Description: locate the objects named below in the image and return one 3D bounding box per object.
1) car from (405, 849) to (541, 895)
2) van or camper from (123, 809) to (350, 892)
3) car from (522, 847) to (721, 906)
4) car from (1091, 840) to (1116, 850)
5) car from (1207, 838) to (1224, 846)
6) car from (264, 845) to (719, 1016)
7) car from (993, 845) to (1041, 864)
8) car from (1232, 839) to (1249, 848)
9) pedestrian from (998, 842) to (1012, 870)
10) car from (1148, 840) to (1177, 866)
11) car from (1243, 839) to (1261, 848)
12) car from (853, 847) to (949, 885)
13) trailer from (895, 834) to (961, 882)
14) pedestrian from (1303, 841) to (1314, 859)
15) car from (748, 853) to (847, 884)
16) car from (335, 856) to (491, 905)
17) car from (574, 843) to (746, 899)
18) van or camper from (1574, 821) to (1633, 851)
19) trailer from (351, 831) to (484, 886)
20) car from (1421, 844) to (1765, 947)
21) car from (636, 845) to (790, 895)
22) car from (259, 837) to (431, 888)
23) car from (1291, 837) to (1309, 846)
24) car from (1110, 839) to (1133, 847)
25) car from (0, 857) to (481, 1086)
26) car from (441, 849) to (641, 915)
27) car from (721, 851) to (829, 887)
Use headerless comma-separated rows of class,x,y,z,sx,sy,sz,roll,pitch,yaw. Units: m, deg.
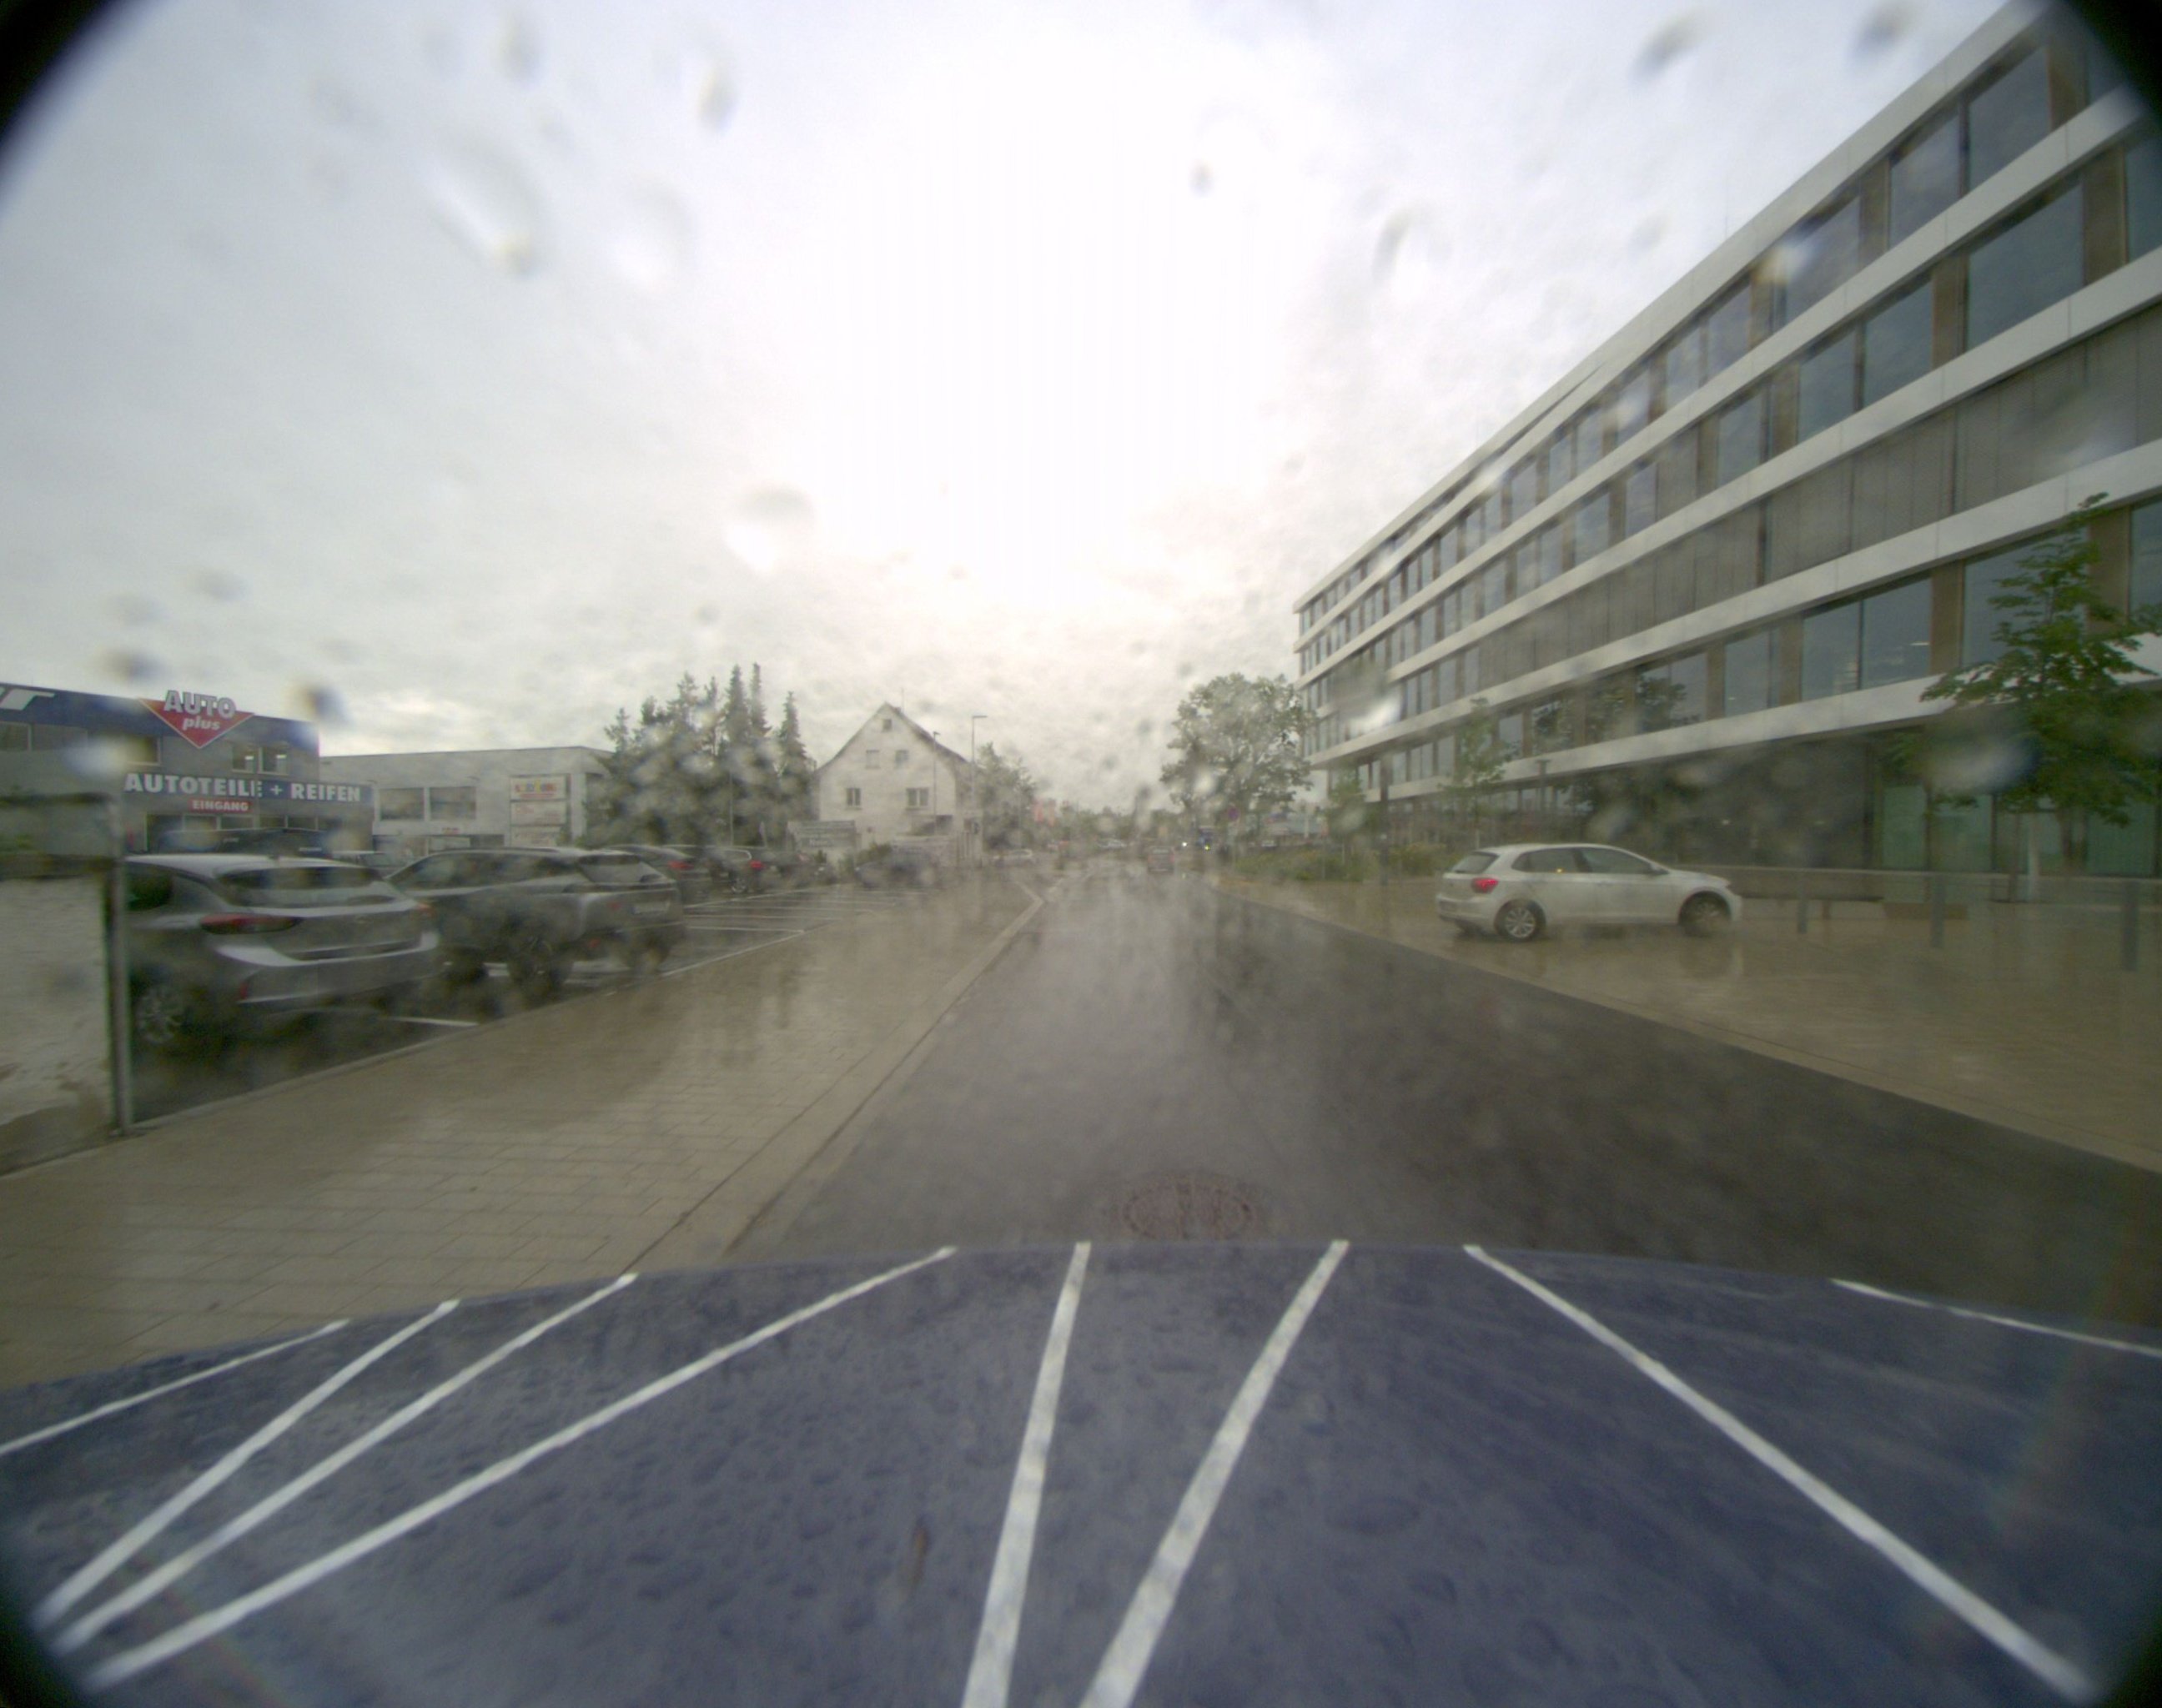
car,-23.809,0.667,29.818,4.134,1.657,1.866,1,1,10
van or camper,-25.512,-0.132,23.048,4.963,2.313,2.224,1,1,8
car,-12.633,0.594,21.098,4.366,1.550,1.839,0,1,-1
car,4.071,-1.622,137.926,4.095,1.696,2.004,0,1,29
car,25.632,-2.289,144.600,1.916,1.521,4.007,-2,0,27
car,-6.881,0.761,9.096,4.214,1.640,2.001,2,1,11
car,-5.875,0.050,69.619,4.144,1.571,1.997,1,0,-13
car,27.666,-1.853,131.922,1.883,1.288,4.006,-3,0,25
pedestrian,-5.451,0.133,54.828,0.861,2.002,1.195,2,1,-1
car,5.982,-0.122,56.200,2.007,1.807,4.980,0,1,4
car,26.637,-1.673,118.337,1.883,1.288,4.006,-3,0,25
car,-7.756,0.520,32.963,3.735,1.520,1.650,1,2,1
trailer,-7.103,0.184,35.430,2.708,2.159,1.548,0,1,3
pedestrian,21.693,-0.378,72.373,0.726,1.694,0.956,-4,3,4
car,-12.473,0.615,33.590,3.736,1.308,1.692,0,1,-2
car,-23.857,0.903,27.193,4.362,1.574,1.866,1,1,10
car,-13.014,0.503,23.643,4.365,1.649,1.786,0,1,2
van or camper,58.371,-1.986,85.033,5.090,3.070,2.003,-2,0,22
trailer,-38.353,0.260,43.971,5.878,2.720,2.937,-3,2,17
car,7.570,0.578,11.570,3.937,1.415,1.898,0,1,2
car,-12.517,0.526,26.041,4.366,1.642,1.844,0,1,-1
car,-24.367,0.253,25.217,4.362,1.574,1.866,1,1,10
car,33.371,-1.936,115.654,1.883,1.288,4.006,-3,0,25
car,7.782,-2.102,147.324,3.990,1.434,2.003,0,1,25
car,-7.430,0.805,6.366,3.627,1.486,1.807,1,1,10
car,-13.059,0.649,18.533,3.695,1.492,1.642,0,1,1
car,-12.505,0.598,31.207,3.736,1.441,1.730,0,1,-2
